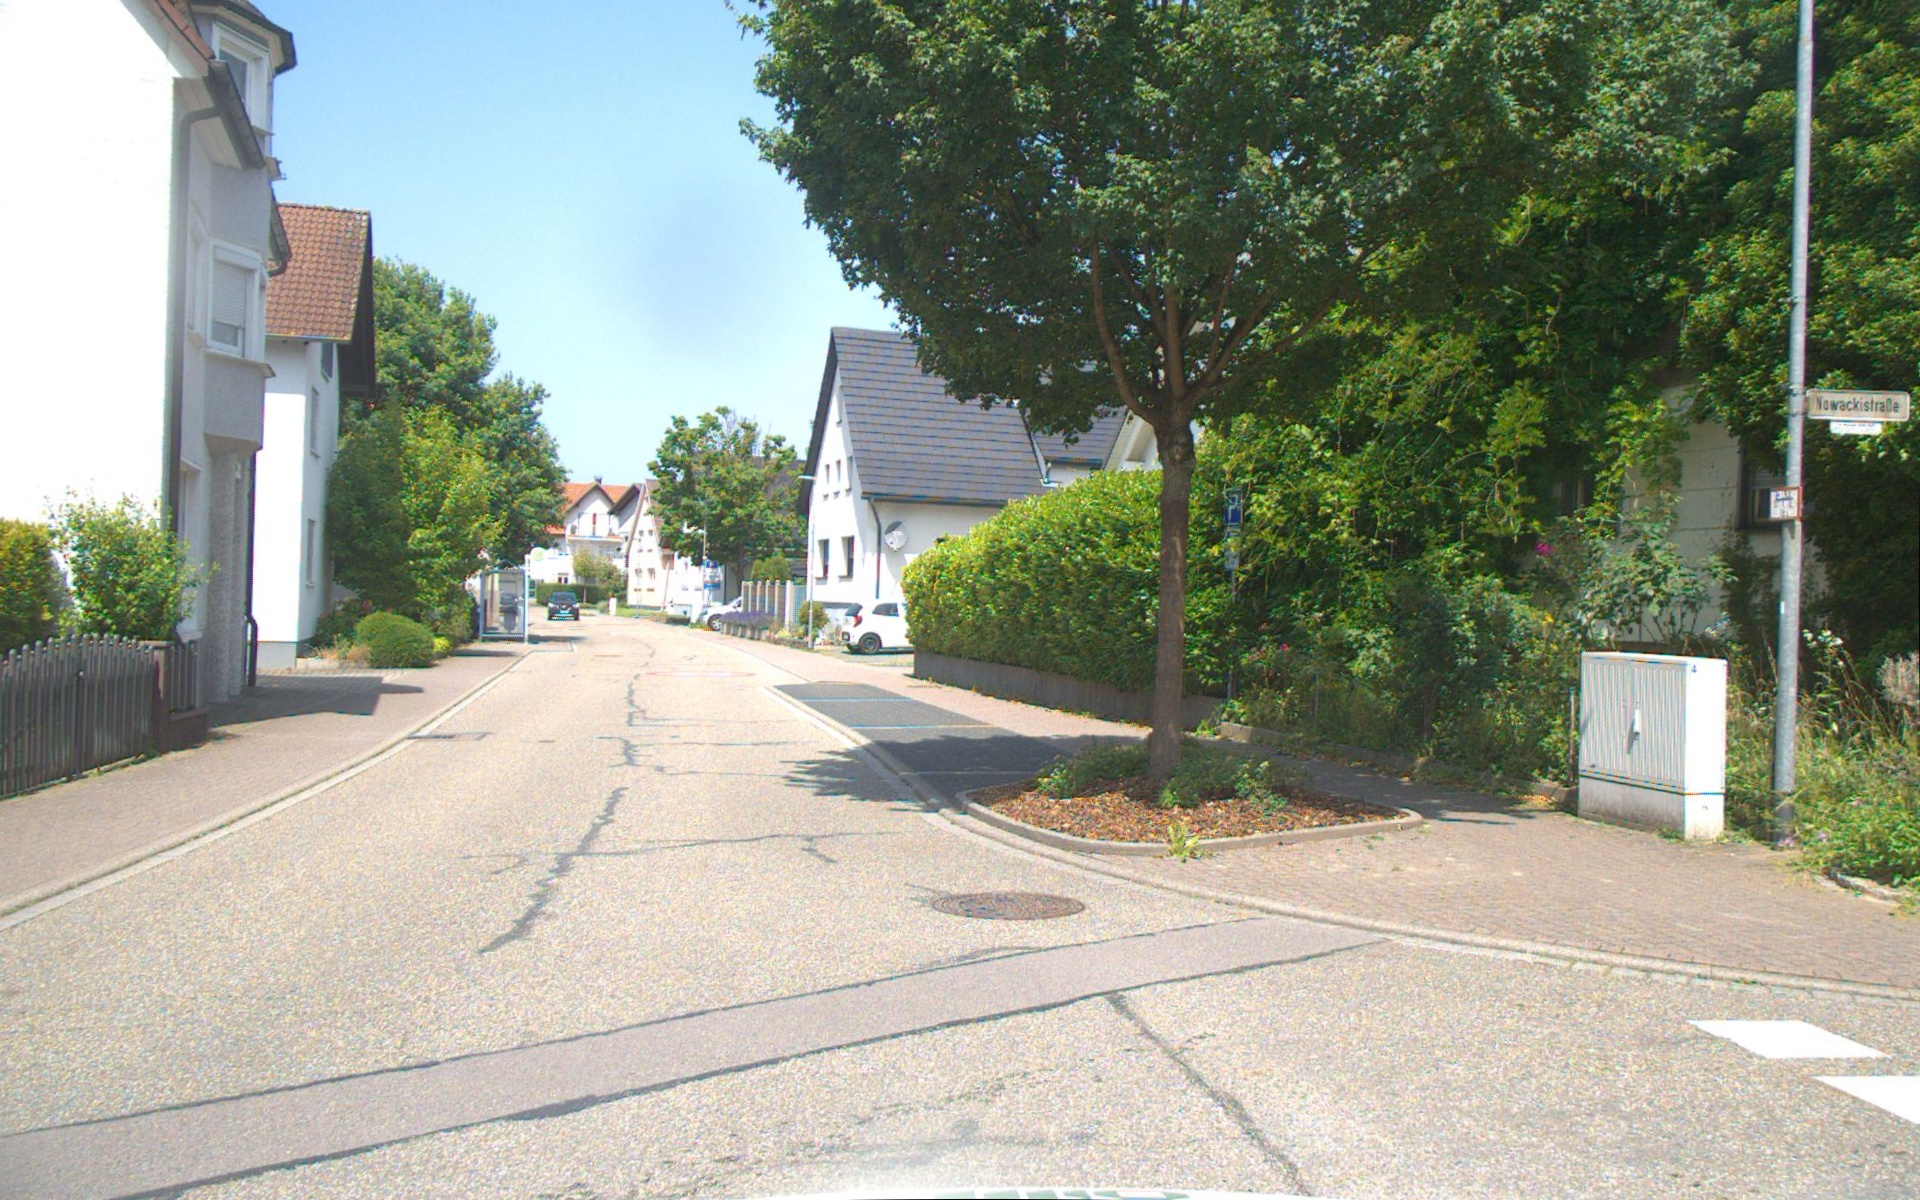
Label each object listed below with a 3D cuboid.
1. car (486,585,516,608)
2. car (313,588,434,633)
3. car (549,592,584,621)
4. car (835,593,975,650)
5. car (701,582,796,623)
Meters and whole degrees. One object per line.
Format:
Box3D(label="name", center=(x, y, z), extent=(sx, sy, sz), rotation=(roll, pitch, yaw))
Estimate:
Box3D(label="car", center=(-30.571, -0.230, 110.127), extent=(1.603, 1.512, 3.976), rotation=(0, 1, -20))
Box3D(label="car", center=(-21.689, 0.380, 61.286), extent=(4.093, 1.565, 1.765), rotation=(-1, 1, -17))
Box3D(label="car", center=(-23.162, 0.362, 97.385), extent=(1.744, 1.652, 4.095), rotation=(0, 0, -10))
Box3D(label="car", center=(-1.560, 0.581, 46.479), extent=(3.602, 1.500, 1.756), rotation=(0, 1, -19))
Box3D(label="car", center=(-9.961, 0.108, 77.773), extent=(4.243, 1.797, 1.885), rotation=(0, 2, -14))
